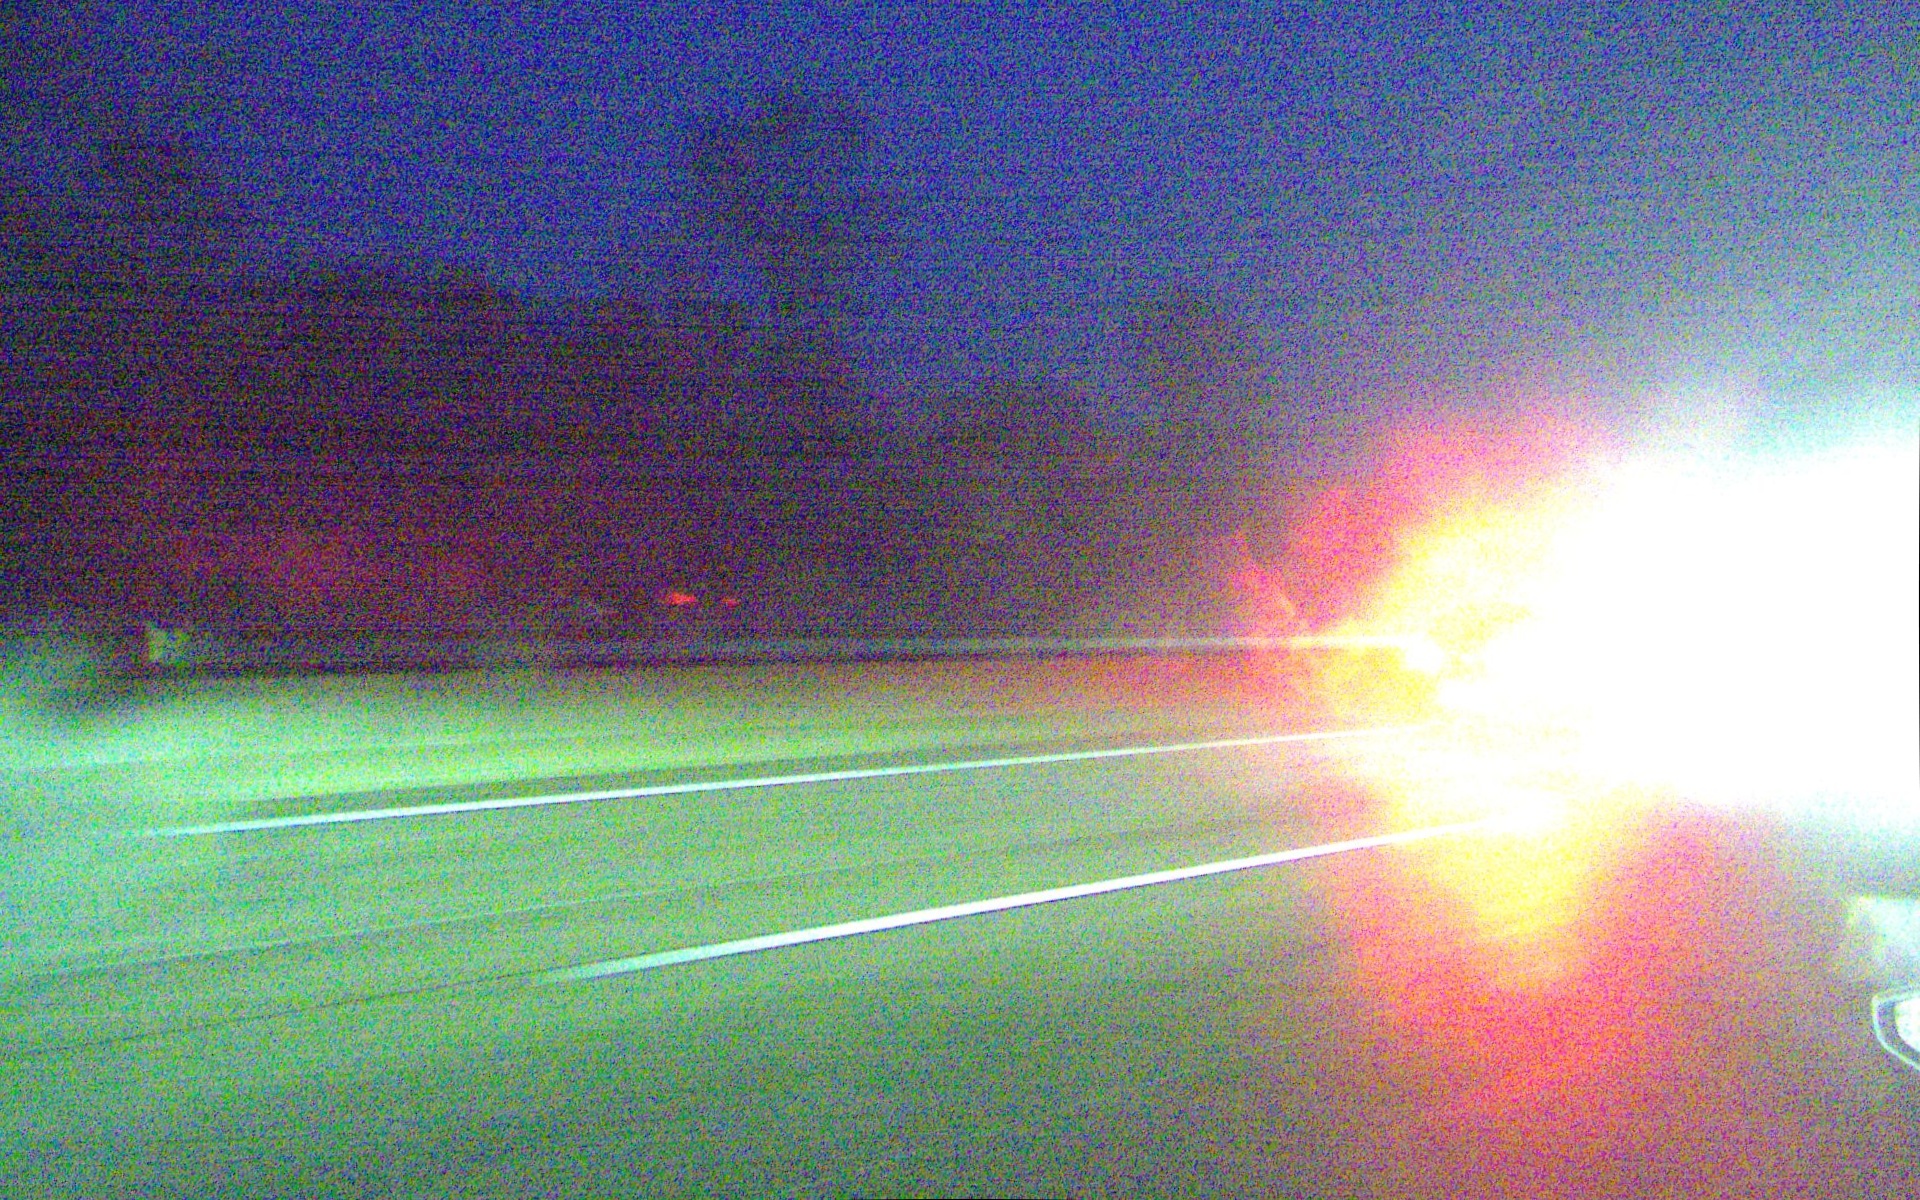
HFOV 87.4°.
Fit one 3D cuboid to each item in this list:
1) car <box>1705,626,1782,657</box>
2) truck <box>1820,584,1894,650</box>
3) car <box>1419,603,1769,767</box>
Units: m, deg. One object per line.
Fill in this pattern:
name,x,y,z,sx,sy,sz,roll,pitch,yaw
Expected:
car,35.487,1.893,45.484,3.722,1.253,1.652,3,-2,-34
truck,60.656,1.183,67.905,5.587,4.210,2.521,3,-2,-35
car,7.780,0.915,12.181,4.703,1.561,1.846,2,2,-35
